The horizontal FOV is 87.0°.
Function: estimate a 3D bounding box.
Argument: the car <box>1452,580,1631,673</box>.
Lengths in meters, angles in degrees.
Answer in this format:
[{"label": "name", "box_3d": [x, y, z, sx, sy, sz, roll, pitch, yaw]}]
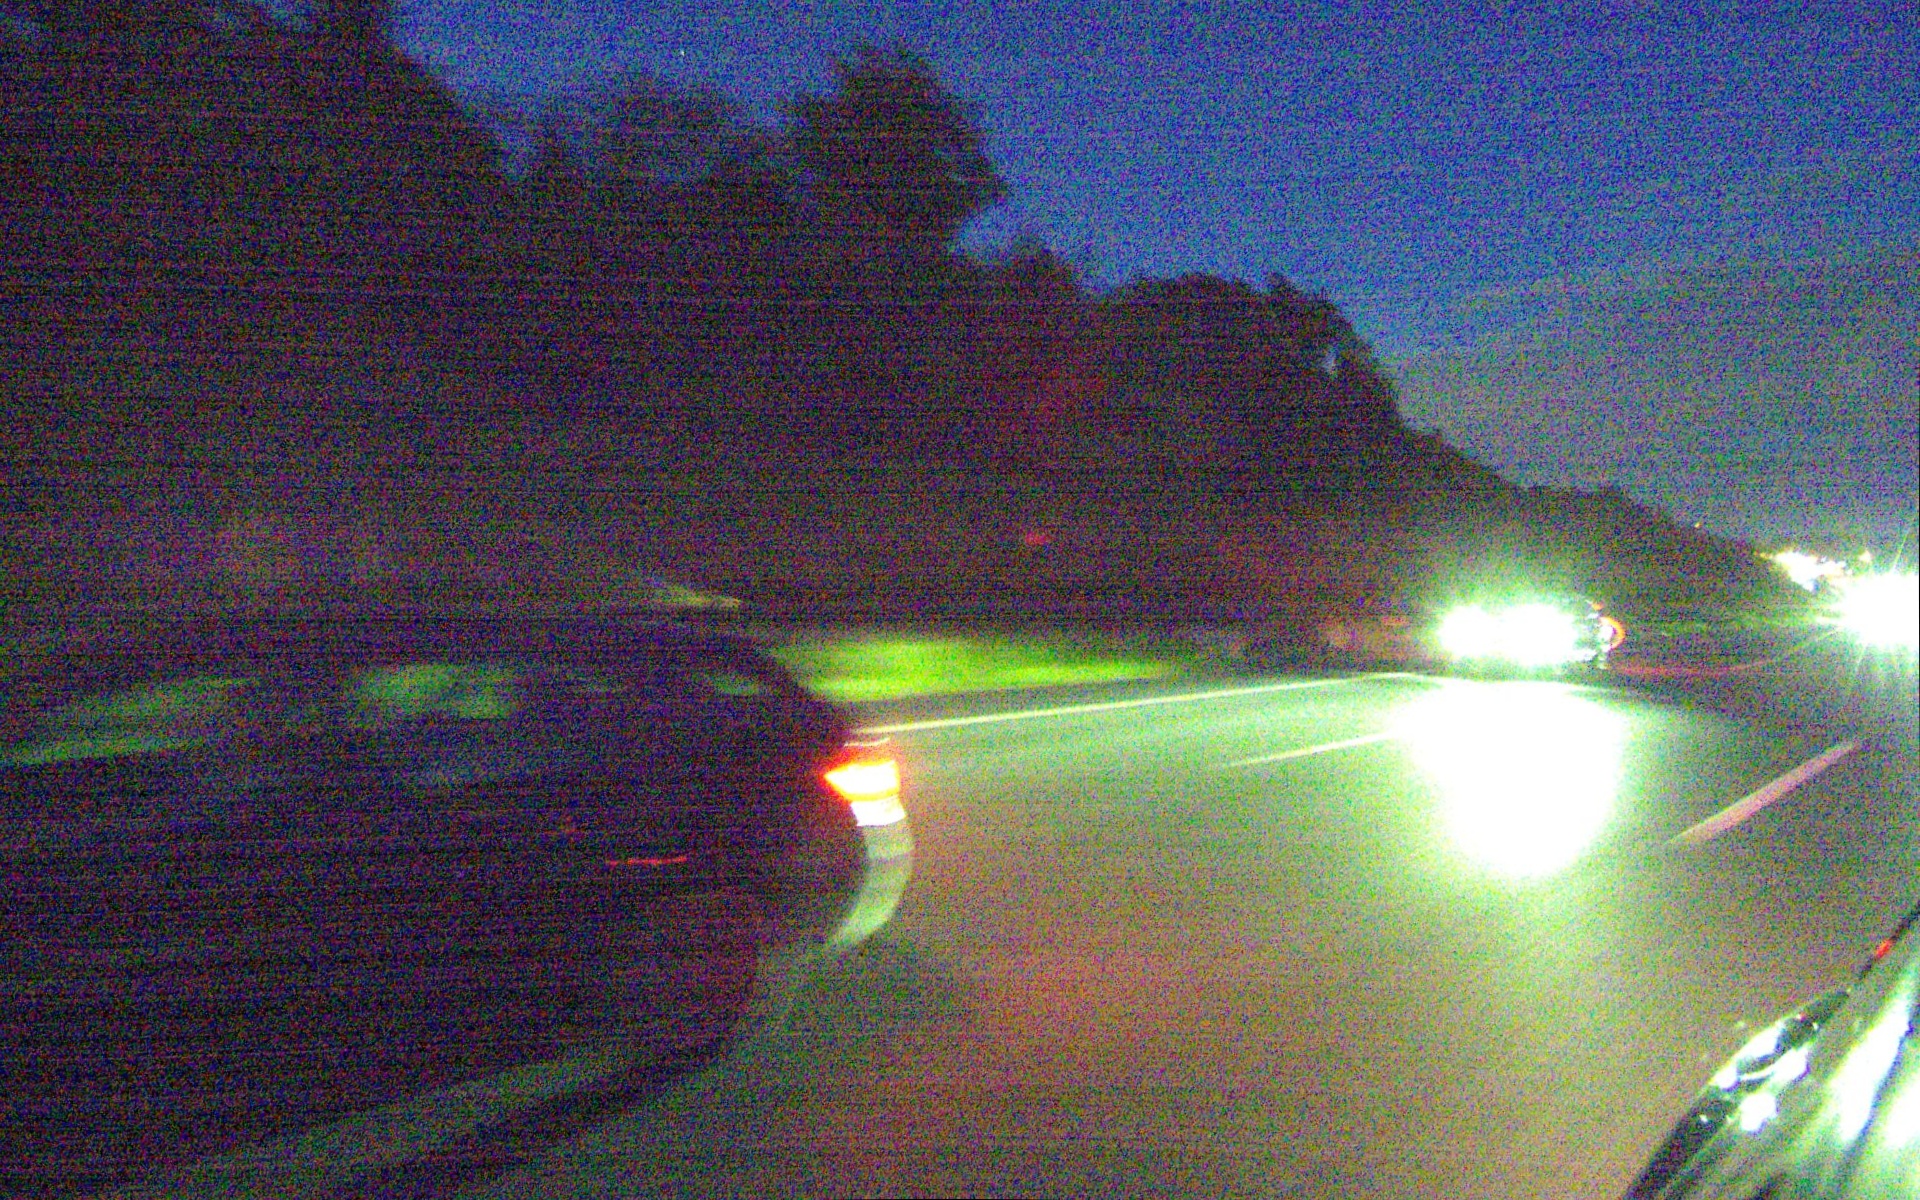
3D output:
[{"label": "car", "box_3d": [12.414, 0.496, 21.445, 5.082, 1.739, 1.995, 0, 0, -44]}]

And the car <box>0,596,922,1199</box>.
[{"label": "car", "box_3d": [-2.563, 0.705, 2.611, 4.984, 1.419, 1.837, 0, 0, -44]}]

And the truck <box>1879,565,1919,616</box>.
[{"label": "truck", "box_3d": [86.633, -0.834, 92.702, 3.338, 4.489, 6.882, 0, 0, 44]}]
